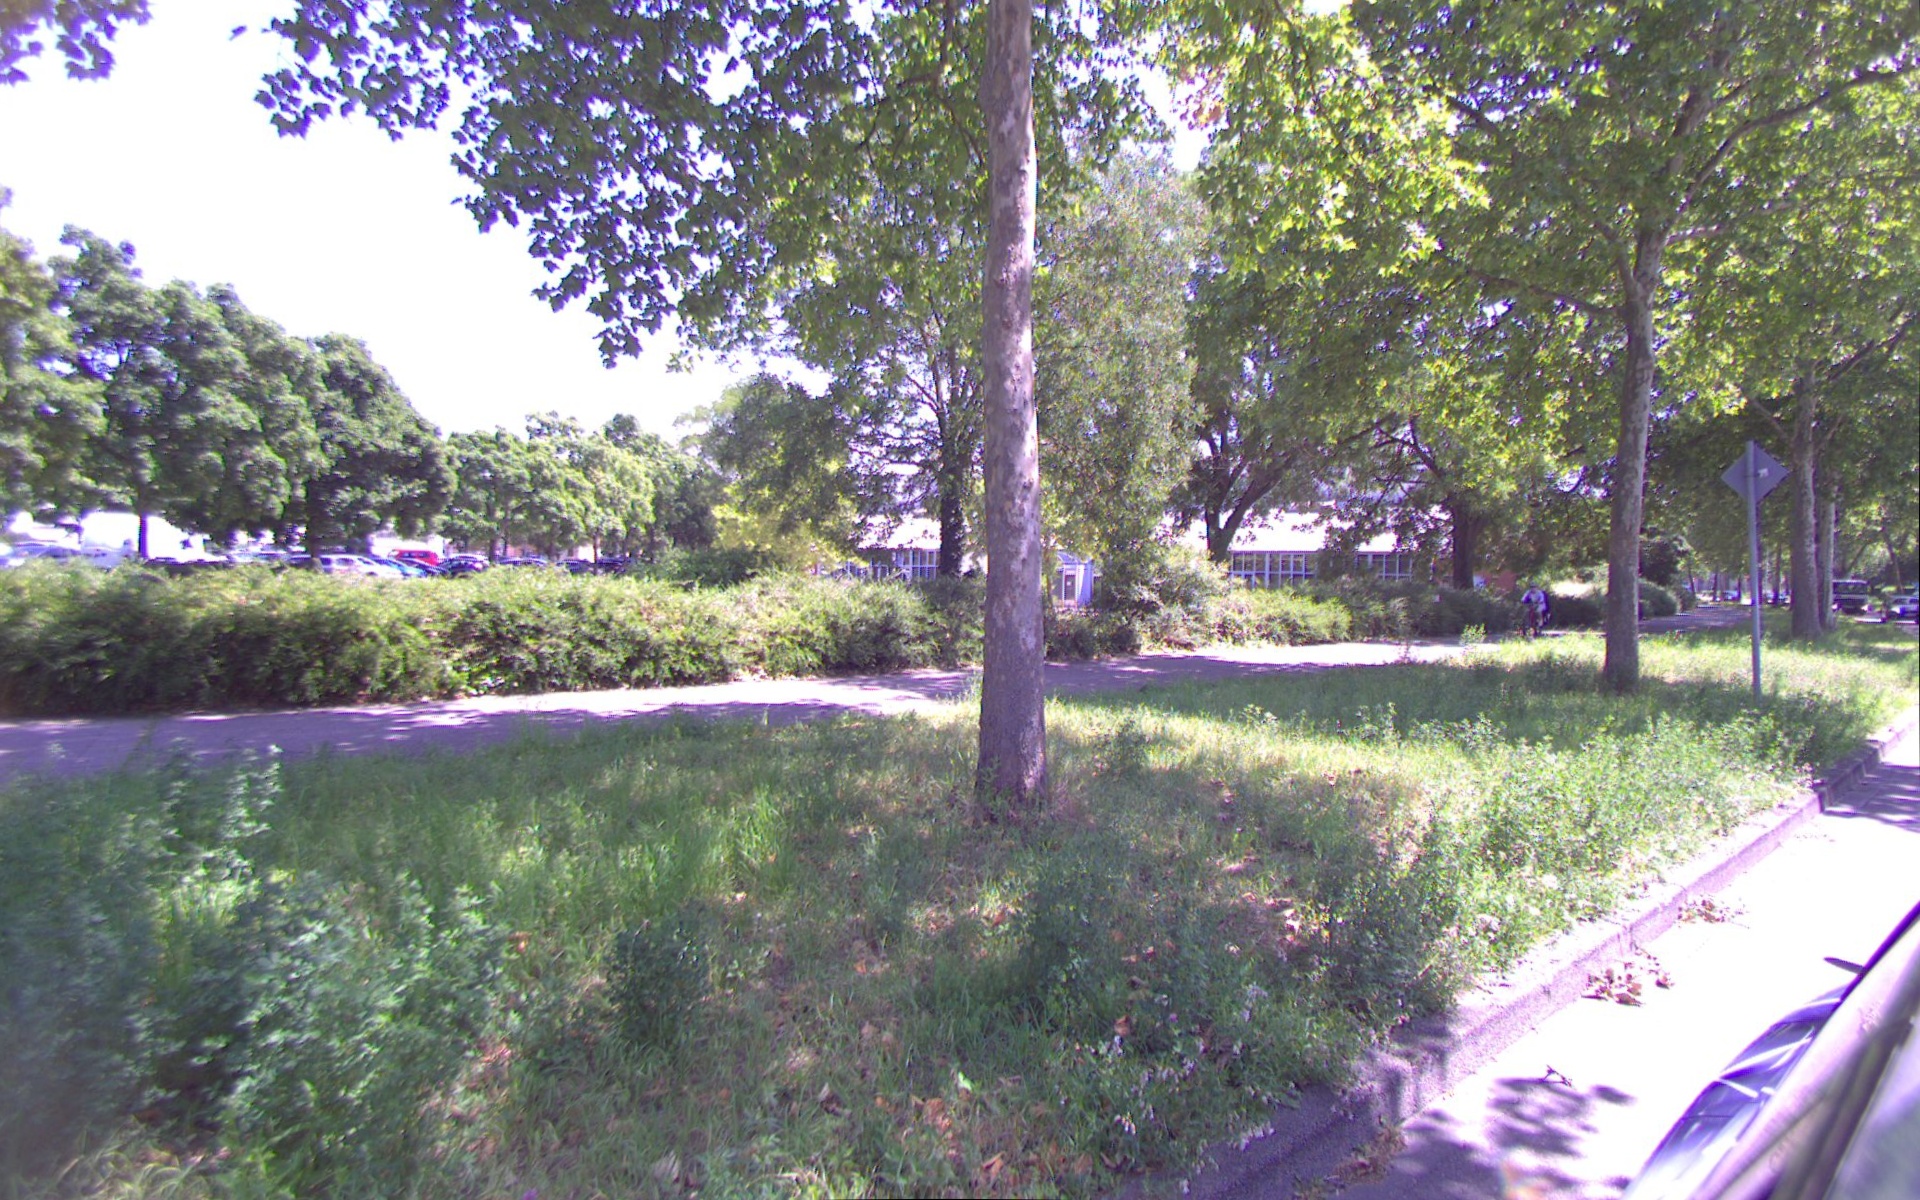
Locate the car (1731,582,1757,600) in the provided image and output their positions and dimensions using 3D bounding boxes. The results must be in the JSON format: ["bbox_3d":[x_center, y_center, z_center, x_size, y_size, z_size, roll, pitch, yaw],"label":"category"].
[{"bbox_3d":[88.266,-1.019,113.977,1.986,1.860,3.953,2,2,33],"label":"car"}]

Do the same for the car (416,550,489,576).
[{"bbox_3d":[-29.170,-2.108,58.250,3.357,1.383,1.720,1,1,-8],"label":"car"}]

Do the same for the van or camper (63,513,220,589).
[{"bbox_3d":[-32.478,-1.911,40.403,2.161,2.785,5.131,1,2,0],"label":"van or camper"}]

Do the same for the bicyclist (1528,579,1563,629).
[{"bbox_3d":[16.356,0.099,28.265,0.653,1.355,0.601,0,1,-33],"label":"bicyclist"}]

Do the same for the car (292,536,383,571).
[{"bbox_3d":[-38.790,-2.902,63.154,4.334,2.038,2.249,1,1,-5],"label":"car"}]

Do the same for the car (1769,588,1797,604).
[{"bbox_3d":[79.813,-0.408,98.146,1.496,1.404,3.394,2,2,29],"label":"car"}]

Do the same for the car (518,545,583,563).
[{"bbox_3d":[-62.675,-7.034,155.043,8.647,2.620,3.054,1,1,-9],"label":"car"}]

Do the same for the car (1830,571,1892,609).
[{"bbox_3d":[67.692,-0.739,76.151,2.904,2.687,6.281,2,2,37],"label":"car"}]

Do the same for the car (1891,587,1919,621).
[{"bbox_3d":[53.514,0.205,56.522,1.991,1.816,3.943,2,1,39],"label":"car"}]

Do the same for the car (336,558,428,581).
[{"bbox_3d":[-28.170,-1.483,49.408,3.494,1.047,1.685,1,2,-8],"label":"car"}]

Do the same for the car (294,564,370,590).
[{"bbox_3d":[-26.299,-0.953,42.428,2.547,1.049,0.955,1,1,-8],"label":"car"}]

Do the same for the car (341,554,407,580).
[{"bbox_3d":[-27.670,-1.546,47.836,2.547,1.141,0.955,1,1,-8],"label":"car"}]

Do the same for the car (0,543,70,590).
[{"bbox_3d":[-36.515,-1.269,38.437,1.919,1.739,4.073,1,1,-1],"label":"car"}]

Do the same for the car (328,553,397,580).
[{"bbox_3d":[-27.504,-1.537,46.634,2.547,1.141,1.008,1,1,-8],"label":"car"}]

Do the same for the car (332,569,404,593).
[{"bbox_3d":[-25.685,-0.831,43.938,2.547,0.999,0.955,1,1,-8],"label":"car"}]

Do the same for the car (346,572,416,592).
[{"bbox_3d":[-25.834,-0.811,45.217,2.547,0.852,0.955,1,1,-8],"label":"car"}]

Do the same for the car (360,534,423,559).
[{"bbox_3d":[-76.516,-7.163,136.337,7.056,3.221,3.197,0,1,-24],"label":"car"}]

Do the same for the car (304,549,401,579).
[{"bbox_3d":[-28.092,-1.648,46.871,3.501,1.240,1.623,2,1,-8],"label":"car"}]

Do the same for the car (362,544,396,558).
[{"bbox_3d":[-70.264,-5.928,122.373,1.433,1.638,3.326,2,2,35],"label":"car"}]

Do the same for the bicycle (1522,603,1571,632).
[{"bbox_3d":[16.350,0.491,28.216,1.635,0.773,0.465,0,1,-32],"label":"bicycle"}]

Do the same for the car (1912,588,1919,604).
[{"bbox_3d":[99.457,-0.424,103.529,1.936,1.629,3.963,2,2,27],"label":"car"}]

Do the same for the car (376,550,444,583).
[{"bbox_3d":[-40.916,-2.506,75.317,3.920,2.040,1.968,-4,-2,-6],"label":"car"}]
